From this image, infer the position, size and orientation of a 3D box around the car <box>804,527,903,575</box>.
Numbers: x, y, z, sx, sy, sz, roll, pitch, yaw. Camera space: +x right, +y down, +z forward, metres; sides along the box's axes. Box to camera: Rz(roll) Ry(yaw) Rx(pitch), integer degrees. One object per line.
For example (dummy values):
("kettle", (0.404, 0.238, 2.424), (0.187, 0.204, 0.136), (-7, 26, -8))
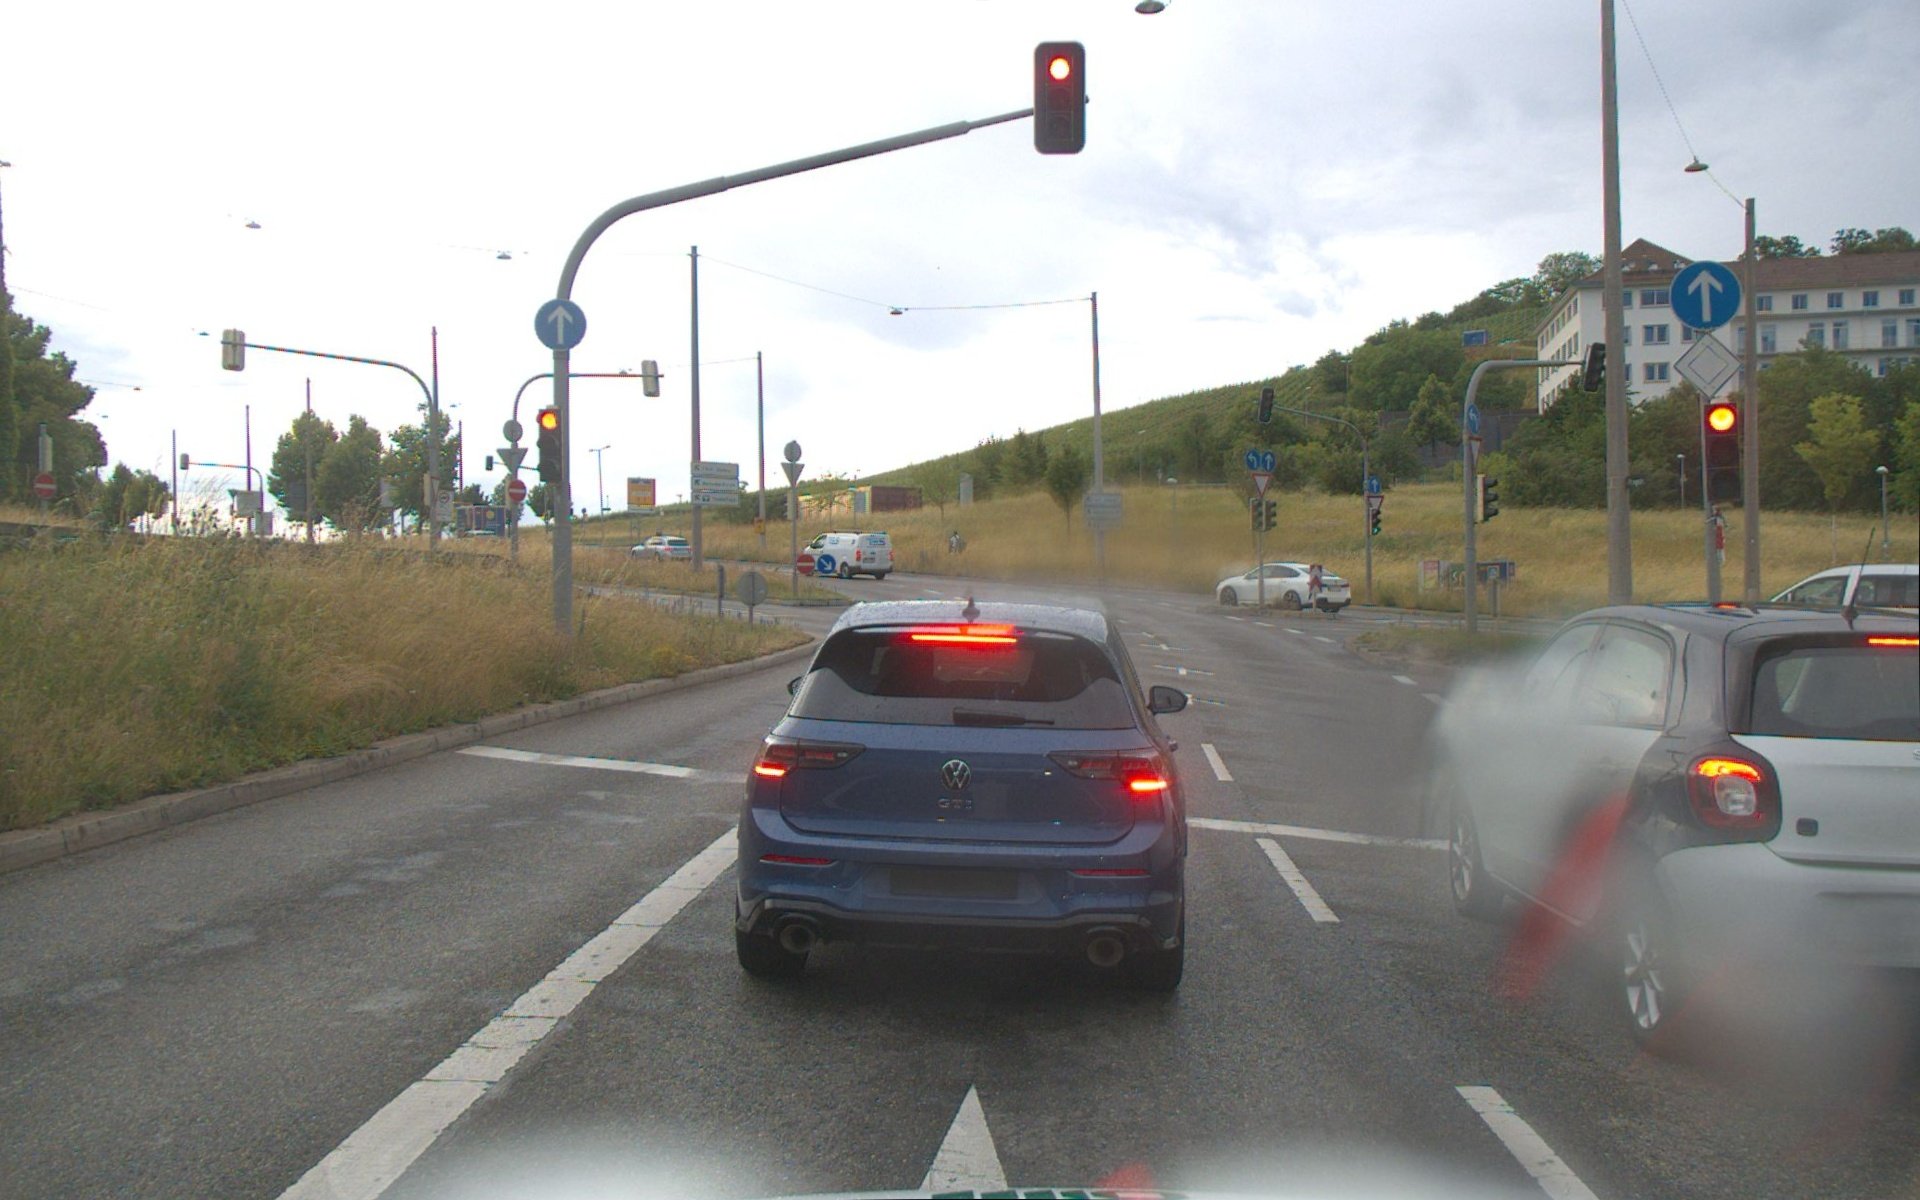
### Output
("car", (-4.524, -2.022, 69.696), (2.110, 1.826, 4.686), (1, -1, -33))

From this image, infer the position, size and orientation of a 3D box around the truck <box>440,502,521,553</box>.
("truck", (-32.274, -4.880, 111.218), (3.233, 3.128, 6.097), (3, 0, -37))

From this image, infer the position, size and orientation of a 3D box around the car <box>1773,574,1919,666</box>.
("car", (17.651, 0.371, 30.438), (1.982, 1.649, 4.456), (1, -1, -41))

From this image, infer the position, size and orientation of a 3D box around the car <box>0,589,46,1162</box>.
("car", (-3.347, 0.690, 2.410), (1.667, 1.485, 4.114), (0, -1, 1))

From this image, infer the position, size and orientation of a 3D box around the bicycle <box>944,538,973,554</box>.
("bicycle", (-0.089, -2.780, 84.975), (0.515, 0.788, 1.596), (3, 1, -42))

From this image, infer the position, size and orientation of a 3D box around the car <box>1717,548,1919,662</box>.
("car", (15.786, 0.093, 28.561), (1.806, 1.882, 4.628), (1, -1, -41))

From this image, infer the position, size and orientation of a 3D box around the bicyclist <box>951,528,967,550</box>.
("bicyclist", (-0.075, -3.136, 84.987), (0.520, 1.065, 0.572), (3, 0, -42))

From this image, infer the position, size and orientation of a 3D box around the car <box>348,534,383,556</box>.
("car", (-51.055, -4.711, 142.028), (1.974, 1.688, 4.496), (1, -1, -31))

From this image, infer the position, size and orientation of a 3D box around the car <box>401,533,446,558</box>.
("car", (-40.615, -4.166, 125.096), (1.977, 1.688, 4.489), (3, 1, -35))

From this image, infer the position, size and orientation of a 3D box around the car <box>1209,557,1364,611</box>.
("car", (9.657, -0.448, 49.168), (1.978, 1.503, 4.363), (1, -1, -37))

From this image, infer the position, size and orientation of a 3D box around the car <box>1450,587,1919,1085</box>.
("car", (3.260, 0.751, 6.834), (1.623, 1.529, 3.452), (1, -1, 4))

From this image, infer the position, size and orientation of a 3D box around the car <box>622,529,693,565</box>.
("car", (-15.885, -2.754, 86.744), (1.977, 1.688, 4.488), (1, -1, -35))

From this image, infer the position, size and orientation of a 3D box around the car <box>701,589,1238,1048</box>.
("car", (0.134, 0.717, 7.459), (1.787, 1.486, 3.810), (1, 1, 3))
